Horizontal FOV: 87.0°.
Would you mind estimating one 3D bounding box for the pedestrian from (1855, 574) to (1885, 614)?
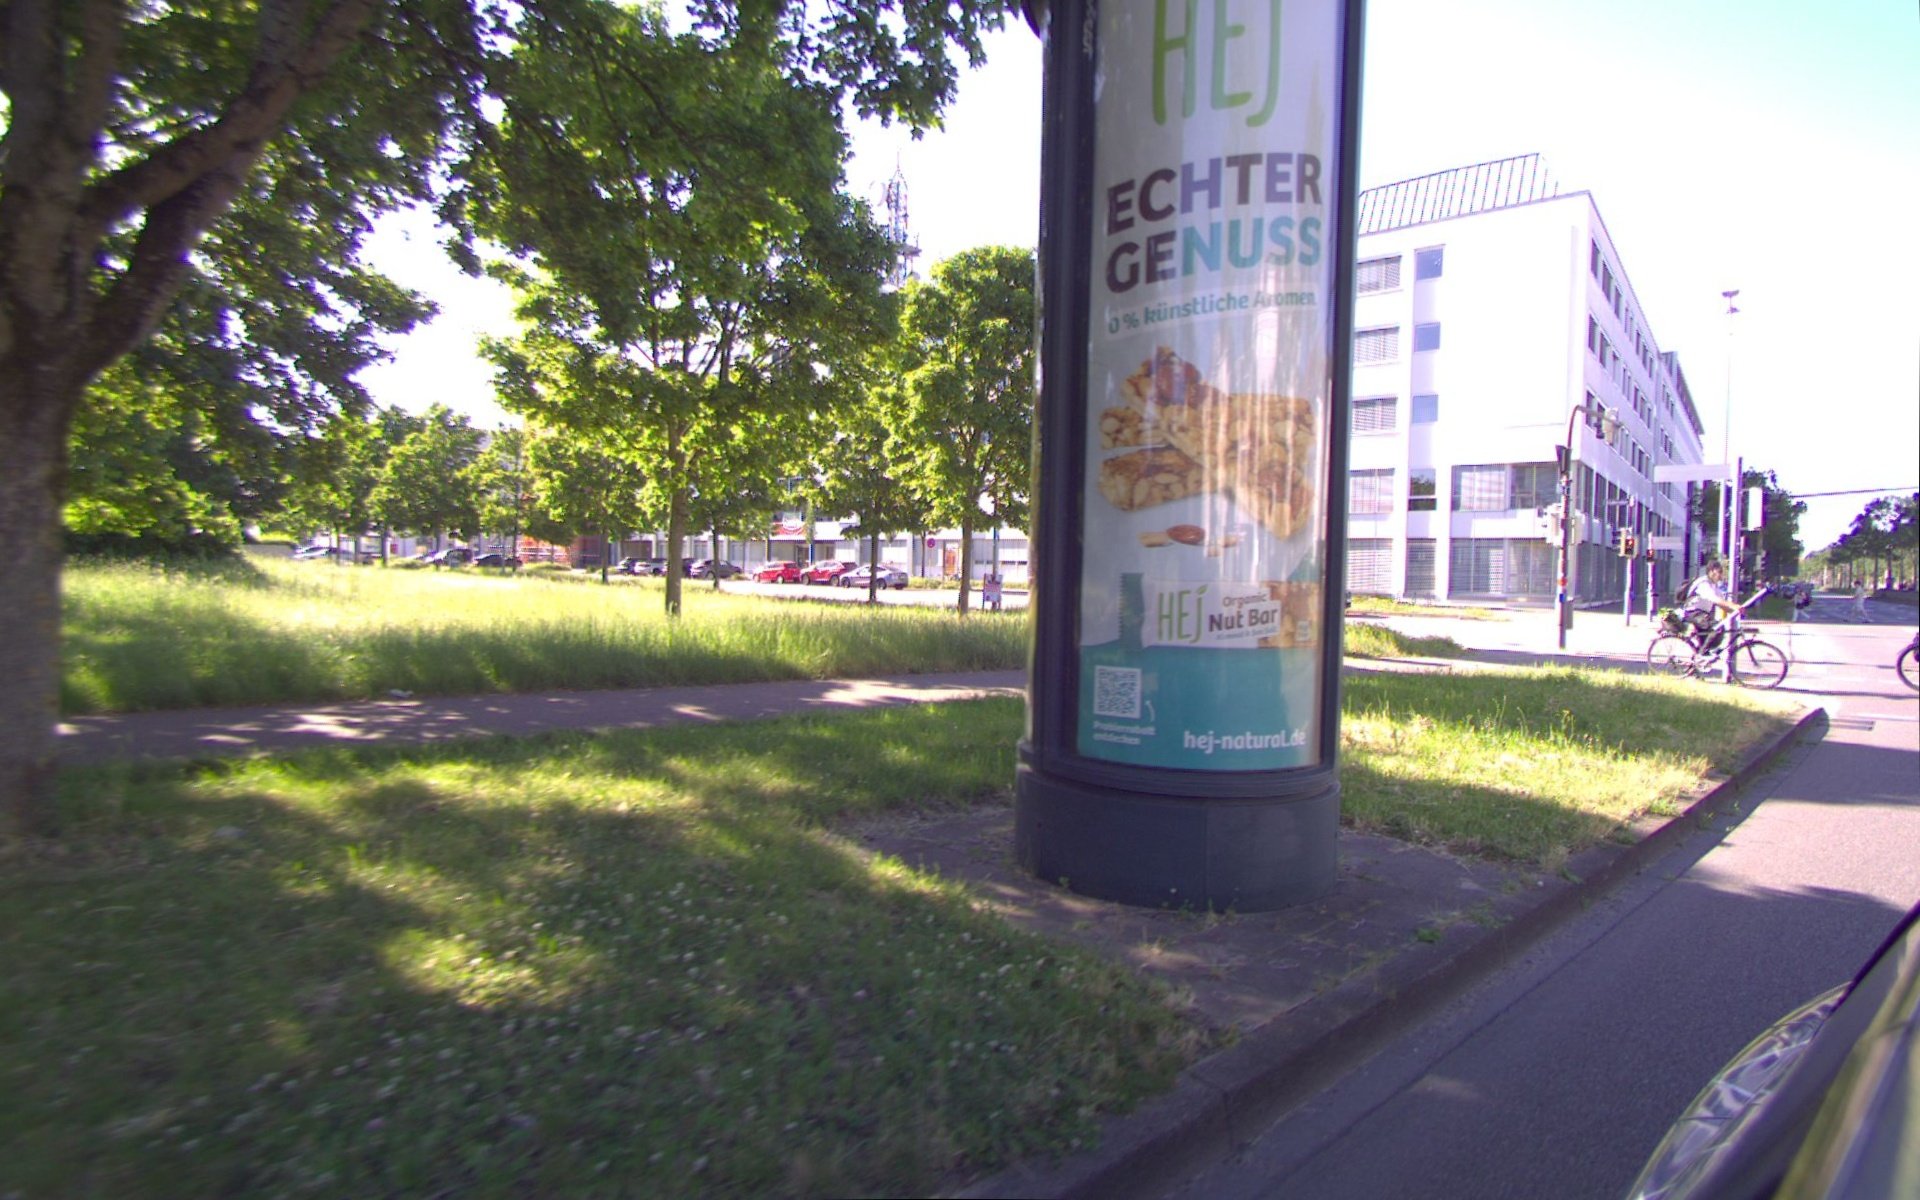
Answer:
[{"bbox_3d":[39.763,-0.272,44.215,0.723,1.718,0.880,0,2,-44],"label":"pedestrian"}]

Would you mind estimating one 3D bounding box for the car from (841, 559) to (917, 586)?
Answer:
[{"bbox_3d":[-4.788,-1.627,59.653,4.264,1.437,1.894,3,2,37],"label":"car"}]

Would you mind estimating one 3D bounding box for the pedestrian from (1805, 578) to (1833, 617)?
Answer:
[{"bbox_3d":[38.847,-0.130,45.767,0.720,1.718,0.734,1,1,-28],"label":"pedestrian"}]

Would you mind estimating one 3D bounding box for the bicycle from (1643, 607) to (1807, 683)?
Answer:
[{"bbox_3d":[11.442,0.635,15.180,0.841,0.975,1.825,0,2,-43],"label":"bicycle"}]

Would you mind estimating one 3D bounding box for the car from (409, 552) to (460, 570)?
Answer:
[{"bbox_3d":[-54.066,-3.987,104.126,1.910,1.777,4.227,2,2,39],"label":"car"}]

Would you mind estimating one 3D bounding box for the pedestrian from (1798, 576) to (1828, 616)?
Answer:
[{"bbox_3d":[37.435,-0.162,44.425,0.720,1.718,0.734,1,1,-28],"label":"pedestrian"}]

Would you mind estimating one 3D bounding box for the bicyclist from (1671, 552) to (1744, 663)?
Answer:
[{"bbox_3d":[11.317,0.089,15.314,0.836,1.620,0.713,0,2,-43],"label":"bicyclist"}]

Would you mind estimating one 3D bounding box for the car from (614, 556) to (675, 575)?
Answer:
[{"bbox_3d":[-24.860,-2.713,79.810,1.909,1.437,4.229,2,2,38],"label":"car"}]

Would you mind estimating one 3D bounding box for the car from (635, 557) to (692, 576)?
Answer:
[{"bbox_3d":[-22.787,-2.577,77.887,1.652,1.437,3.955,2,2,38],"label":"car"}]

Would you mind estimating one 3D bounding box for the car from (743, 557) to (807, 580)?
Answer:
[{"bbox_3d":[-12.487,-2.151,68.218,4.264,1.437,1.894,3,2,37],"label":"car"}]

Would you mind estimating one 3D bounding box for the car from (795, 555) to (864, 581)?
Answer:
[{"bbox_3d":[-8.411,-2.061,65.033,4.264,1.614,1.894,3,2,37],"label":"car"}]

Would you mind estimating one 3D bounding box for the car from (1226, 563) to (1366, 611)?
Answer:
[{"bbox_3d":[12.538,-0.541,37.932,4.614,1.642,1.970,3,3,42],"label":"car"}]

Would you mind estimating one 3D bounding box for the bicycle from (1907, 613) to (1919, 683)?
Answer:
[{"bbox_3d":[14.529,0.723,14.143,0.803,0.975,1.825,0,2,-44],"label":"bicycle"}]

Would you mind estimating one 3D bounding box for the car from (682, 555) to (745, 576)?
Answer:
[{"bbox_3d":[-17.827,-2.472,73.325,1.909,1.437,4.229,2,2,38],"label":"car"}]

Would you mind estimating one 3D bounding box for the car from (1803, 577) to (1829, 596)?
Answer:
[{"bbox_3d":[80.831,-1.265,95.607,1.686,1.731,4.181,2,2,39],"label":"car"}]

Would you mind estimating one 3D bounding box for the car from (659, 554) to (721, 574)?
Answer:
[{"bbox_3d":[-20.008,-2.667,75.117,1.909,1.437,4.229,2,2,38],"label":"car"}]

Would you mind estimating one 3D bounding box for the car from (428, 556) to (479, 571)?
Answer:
[{"bbox_3d":[-51.511,-3.728,102.933,1.909,1.437,4.229,2,2,38],"label":"car"}]

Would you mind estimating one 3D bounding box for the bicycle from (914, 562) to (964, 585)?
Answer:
[{"bbox_3d":[-1.400,-1.732,65.969,3.520,1.365,0.975,3,2,40],"label":"bicycle"}]
